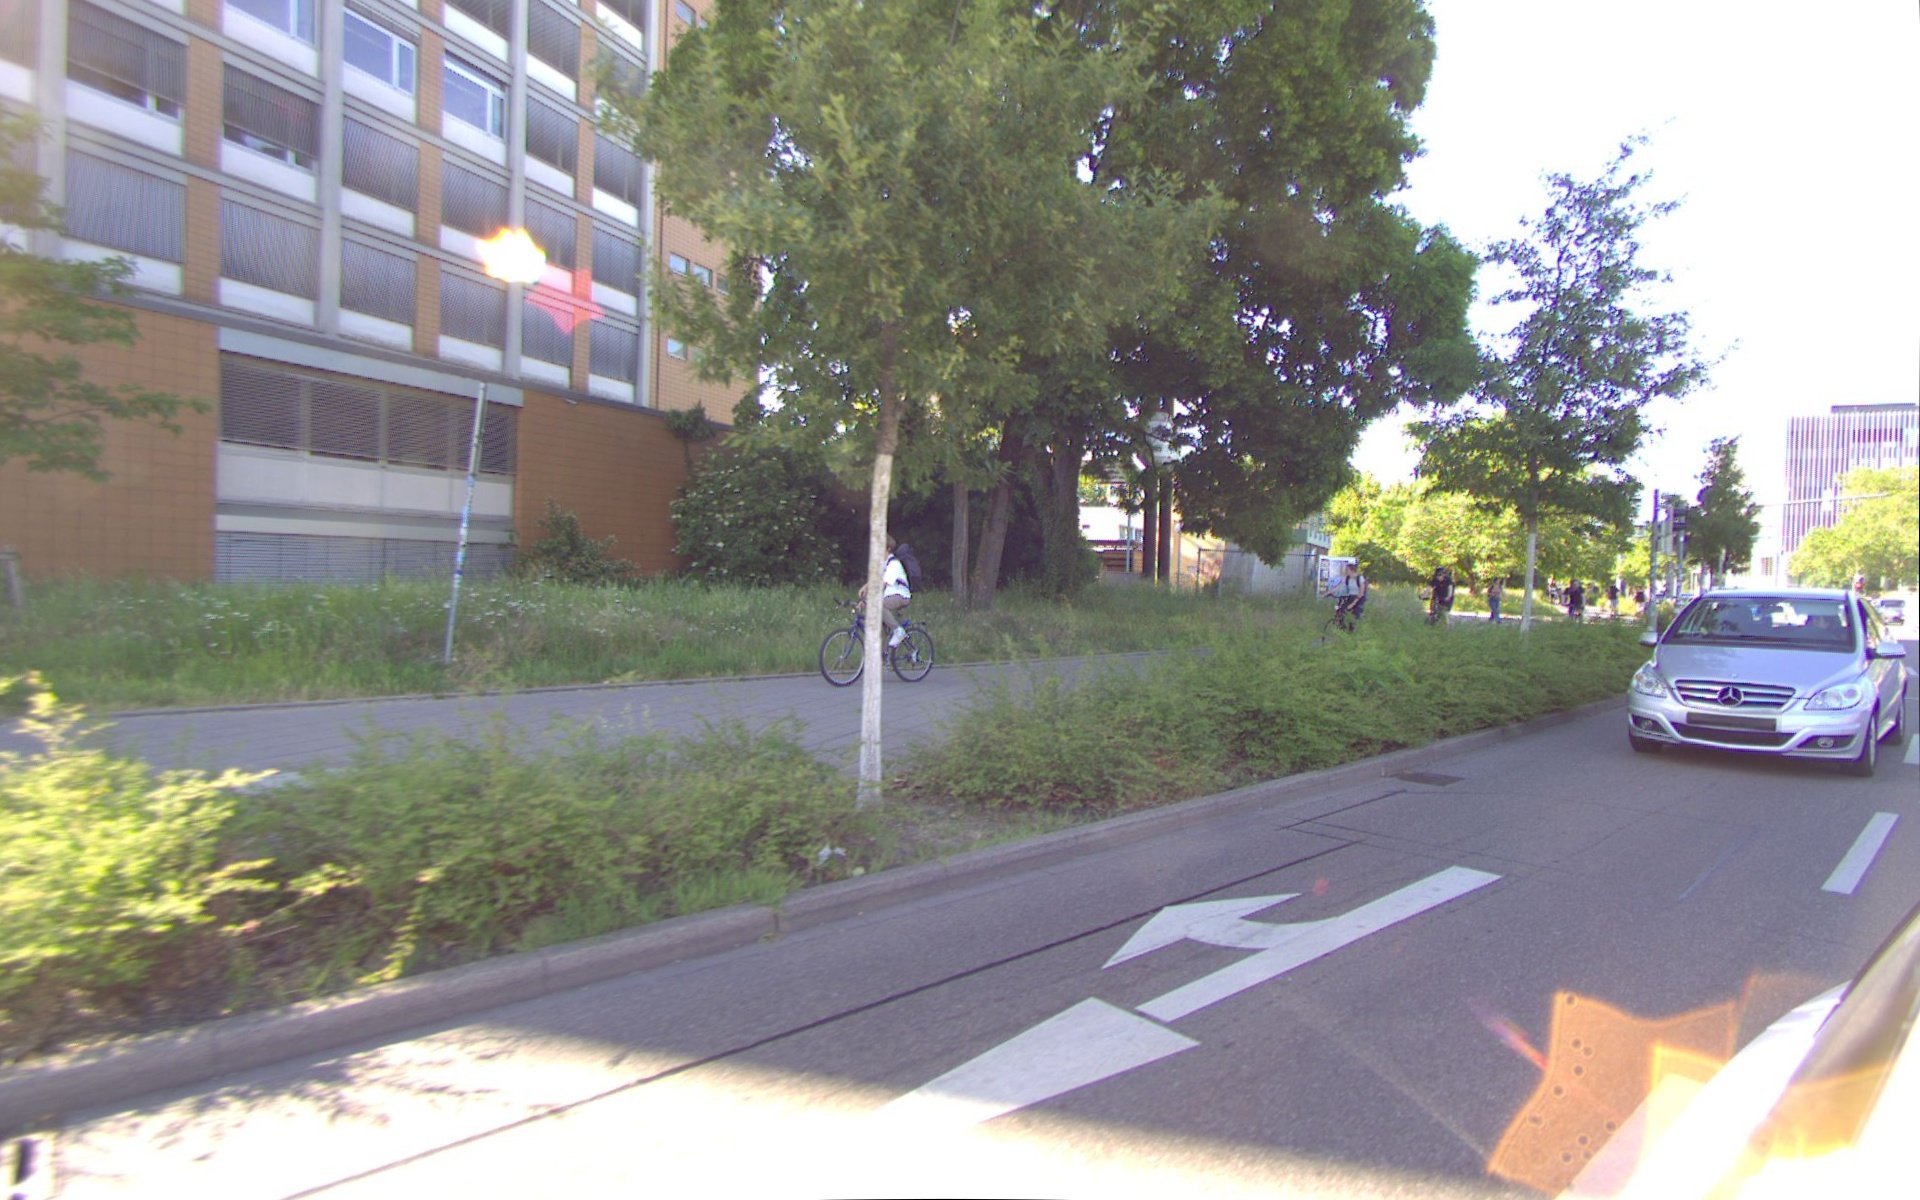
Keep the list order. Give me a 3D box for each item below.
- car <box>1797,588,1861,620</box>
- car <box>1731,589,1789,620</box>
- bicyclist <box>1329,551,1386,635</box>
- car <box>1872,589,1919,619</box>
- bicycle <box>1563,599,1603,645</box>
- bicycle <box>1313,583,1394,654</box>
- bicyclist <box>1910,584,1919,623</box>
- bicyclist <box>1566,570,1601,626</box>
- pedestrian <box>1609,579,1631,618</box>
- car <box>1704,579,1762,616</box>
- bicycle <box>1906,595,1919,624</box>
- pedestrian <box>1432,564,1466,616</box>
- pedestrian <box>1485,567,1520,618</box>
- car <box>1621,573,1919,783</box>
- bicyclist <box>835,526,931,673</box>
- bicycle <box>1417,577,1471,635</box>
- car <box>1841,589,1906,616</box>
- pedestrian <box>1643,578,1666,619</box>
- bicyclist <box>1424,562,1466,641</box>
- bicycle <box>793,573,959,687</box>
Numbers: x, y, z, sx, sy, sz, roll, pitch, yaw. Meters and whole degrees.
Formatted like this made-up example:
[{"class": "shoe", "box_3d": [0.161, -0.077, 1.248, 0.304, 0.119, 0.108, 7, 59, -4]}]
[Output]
[{"class": "car", "box_3d": [43.559, 0.169, 50.823, 1.987, 1.487, 3.950, 2, 2, 35]}, {"class": "car", "box_3d": [39.758, 0.189, 50.373, 1.690, 1.460, 3.957, 1, 1, 30]}, {"class": "bicyclist", "box_3d": [7.206, -0.137, 18.349, 0.642, 1.462, 0.764, 5, 3, 44]}, {"class": "car", "box_3d": [51.178, 0.185, 54.628, 1.967, 1.574, 4.673, 1, 1, 30]}, {"class": "bicycle", "box_3d": [16.792, 0.576, 27.268, 0.640, 1.180, 1.843, 1, 0, 40]}, {"class": "bicycle", "box_3d": [7.150, 0.311, 18.336, 0.641, 1.179, 1.840, 5, 4, 44]}, {"class": "bicyclist", "box_3d": [42.503, 0.160, 44.511, 0.739, 1.705, 0.968, 2, 3, 28]}, {"class": "bicyclist", "box_3d": [16.816, -0.060, 27.288, 0.640, 1.462, 0.939, 1, 1, 40]}, {"class": "pedestrian", "box_3d": [31.330, -0.081, 48.059, 0.729, 1.804, 0.724, 2, -1, 44]}, {"class": "car", "box_3d": [42.900, -0.159, 56.256, 1.923, 1.977, 4.706, 1, 1, 30]}, {"class": "bicycle", "box_3d": [42.551, 0.428, 44.600, 0.741, 1.179, 1.852, 2, 3, 28]}, {"class": "pedestrian", "box_3d": [15.945, -0.325, 32.993, 0.665, 1.664, 0.736, 2, -1, -2]}, {"class": "pedestrian", "box_3d": [17.962, -0.246, 33.532, 0.664, 1.664, 0.736, 2, -1, -6]}, {"class": "car", "box_3d": [8.337, 0.557, 10.116, 4.559, 1.613, 1.769, -2, 2, -42]}, {"class": "bicyclist", "box_3d": [-0.893, -0.019, 11.763, 0.630, 1.614, 0.819, 6, 4, 44]}, {"class": "bicycle", "box_3d": [10.597, 0.120, 22.130, 0.640, 1.179, 1.844, 2, 1, 39]}, {"class": "car", "box_3d": [54.996, 0.133, 61.019, 1.967, 1.574, 4.673, 1, 1, 30]}, {"class": "pedestrian", "box_3d": [32.233, -0.068, 46.950, 0.729, 1.839, 0.724, 2, -1, 44]}, {"class": "bicyclist", "box_3d": [10.590, 0.029, 22.102, 0.640, 1.666, 0.766, 2, 1, 38]}, {"class": "bicycle", "box_3d": [-0.944, 0.314, 11.742, 0.641, 1.179, 1.926, 6, 4, 44]}]
